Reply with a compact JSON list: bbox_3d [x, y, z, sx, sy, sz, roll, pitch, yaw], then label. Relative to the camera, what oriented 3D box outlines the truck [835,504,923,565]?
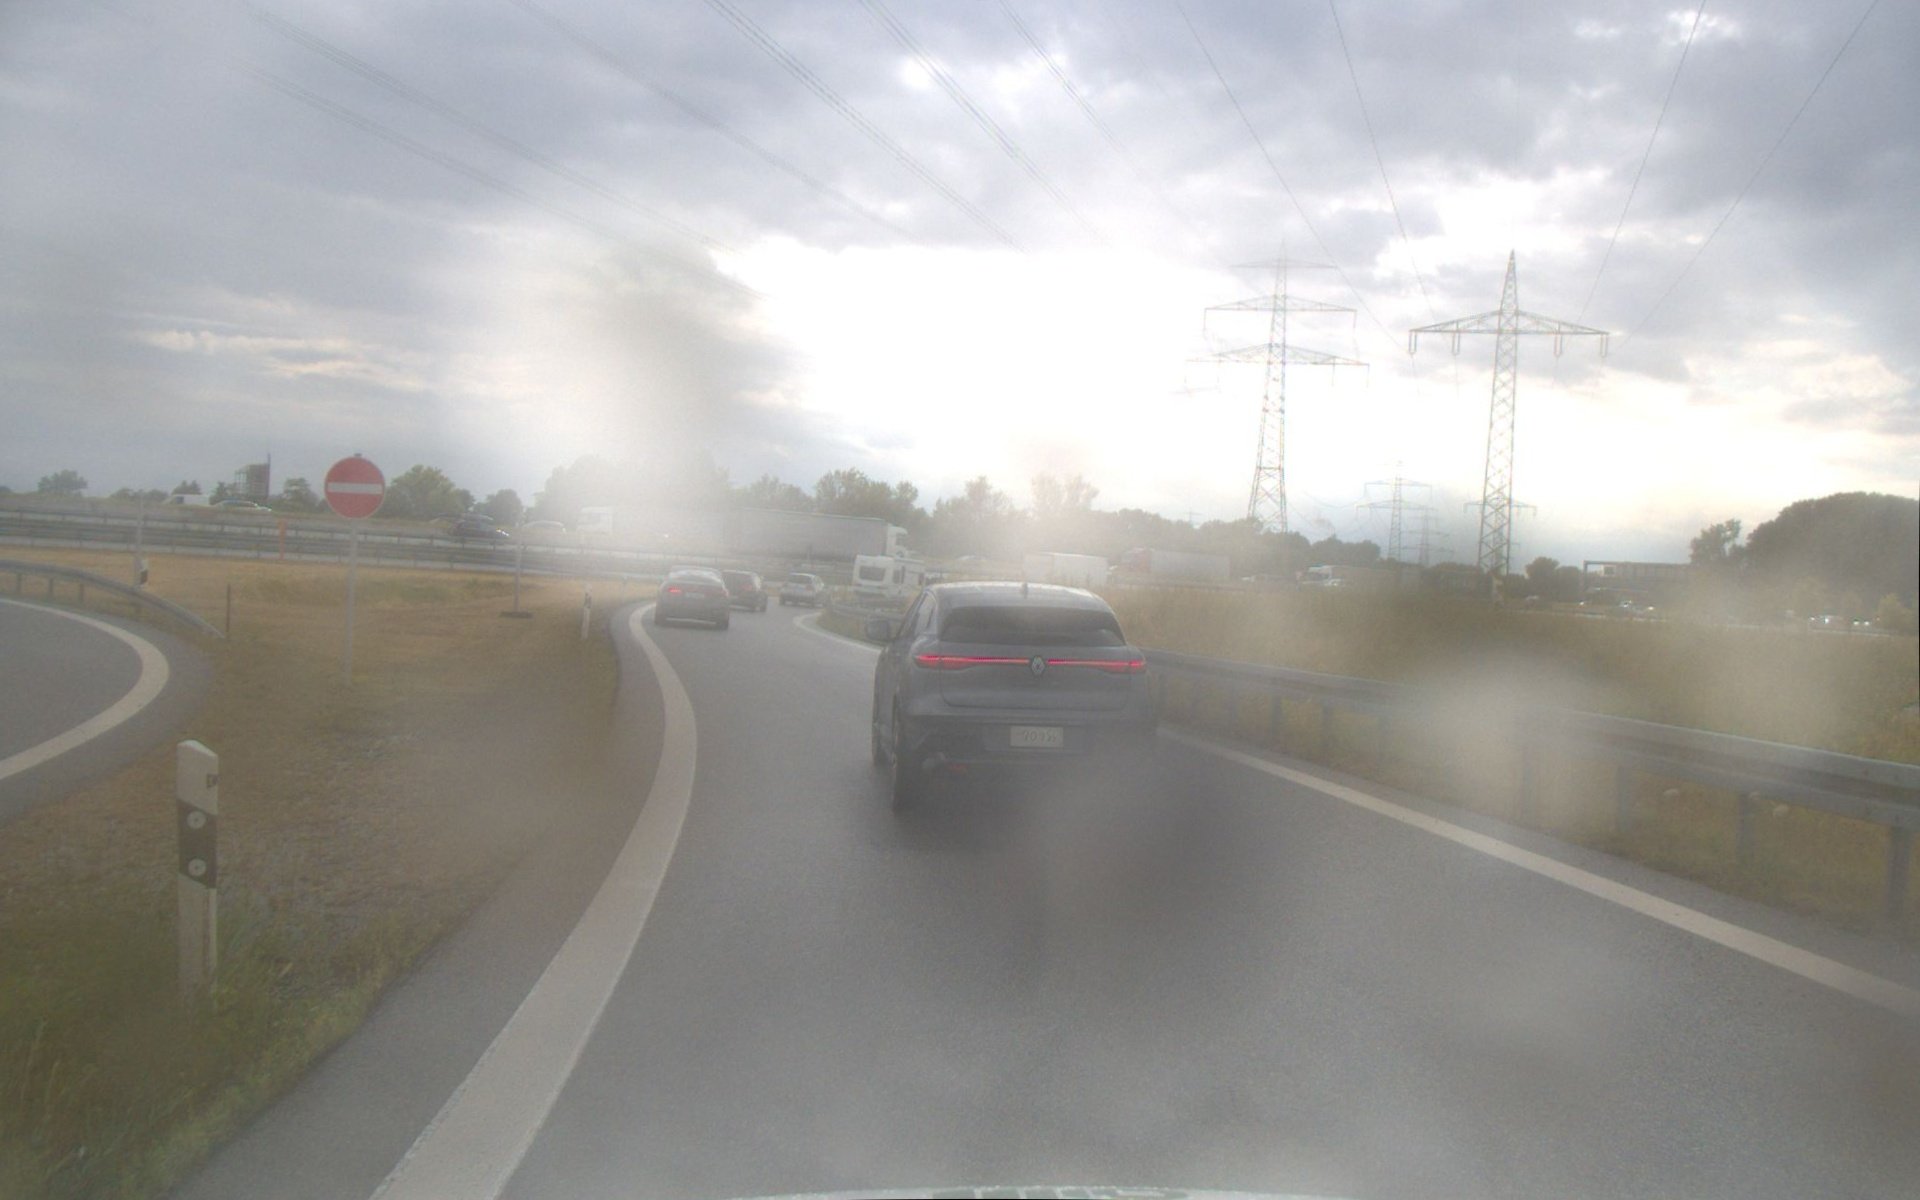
[{"bbox_3d":[-6.486,-5.252,132.979,6.201,4.644,3.308,1,3,-37],"label":"truck"}]

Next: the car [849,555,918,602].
[{"bbox_3d":[-4.195,-1.210,91.312,2.301,2.346,5.133,3,3,14],"label":"car"}]

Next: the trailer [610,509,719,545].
[{"bbox_3d":[-28.060,-6.923,157.494,10.386,3.078,2.287,0,3,-40],"label":"trailer"}]

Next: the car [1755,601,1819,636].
[{"bbox_3d":[97.815,2.194,195.552,8.961,3.673,3.346,3,1,-41],"label":"car"}]

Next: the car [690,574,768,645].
[{"bbox_3d":[-8.811,0.296,63.512,2.304,2.346,5.128,3,3,-2],"label":"car"}]

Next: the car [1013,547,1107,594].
[{"bbox_3d":[6.901,-2.033,113.257,3.083,3.002,7.185,4,3,34],"label":"car"}]

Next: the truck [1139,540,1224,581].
[{"bbox_3d":[26.437,-4.663,196.729,12.372,4.194,1.973,3,1,-39],"label":"truck"}]

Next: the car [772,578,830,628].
[{"bbox_3d":[-7.403,0.103,77.317,1.952,2.048,4.003,3,3,4],"label":"car"}]

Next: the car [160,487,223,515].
[{"bbox_3d":[-57.291,-7.367,123.277,3.957,1.880,1.869,1,3,-37],"label":"car"}]

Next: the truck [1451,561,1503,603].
[{"bbox_3d":[58.103,-2.018,185.818,5.017,4.556,3.040,1,3,-37],"label":"truck"}]

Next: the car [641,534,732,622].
[{"bbox_3d":[-7.127,-0.594,43.615,2.081,2.053,5.525,3,1,-8],"label":"car"}]

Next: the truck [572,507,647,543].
[{"bbox_3d":[-32.544,-6.958,153.726,6.407,3.078,2.287,0,3,-40],"label":"truck"}]

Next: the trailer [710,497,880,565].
[{"bbox_3d":[-12.676,-5.306,128.243,13.251,4.695,3.439,1,3,-38],"label":"trailer"}]

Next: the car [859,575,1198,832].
[{"bbox_3d":[0.320,0.633,12.549,1.955,1.593,4.144,1,1,-6],"label":"car"}]

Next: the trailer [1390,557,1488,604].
[{"bbox_3d":[52.701,-2.106,181.746,13.160,4.715,3.018,1,3,-38],"label":"trailer"}]
